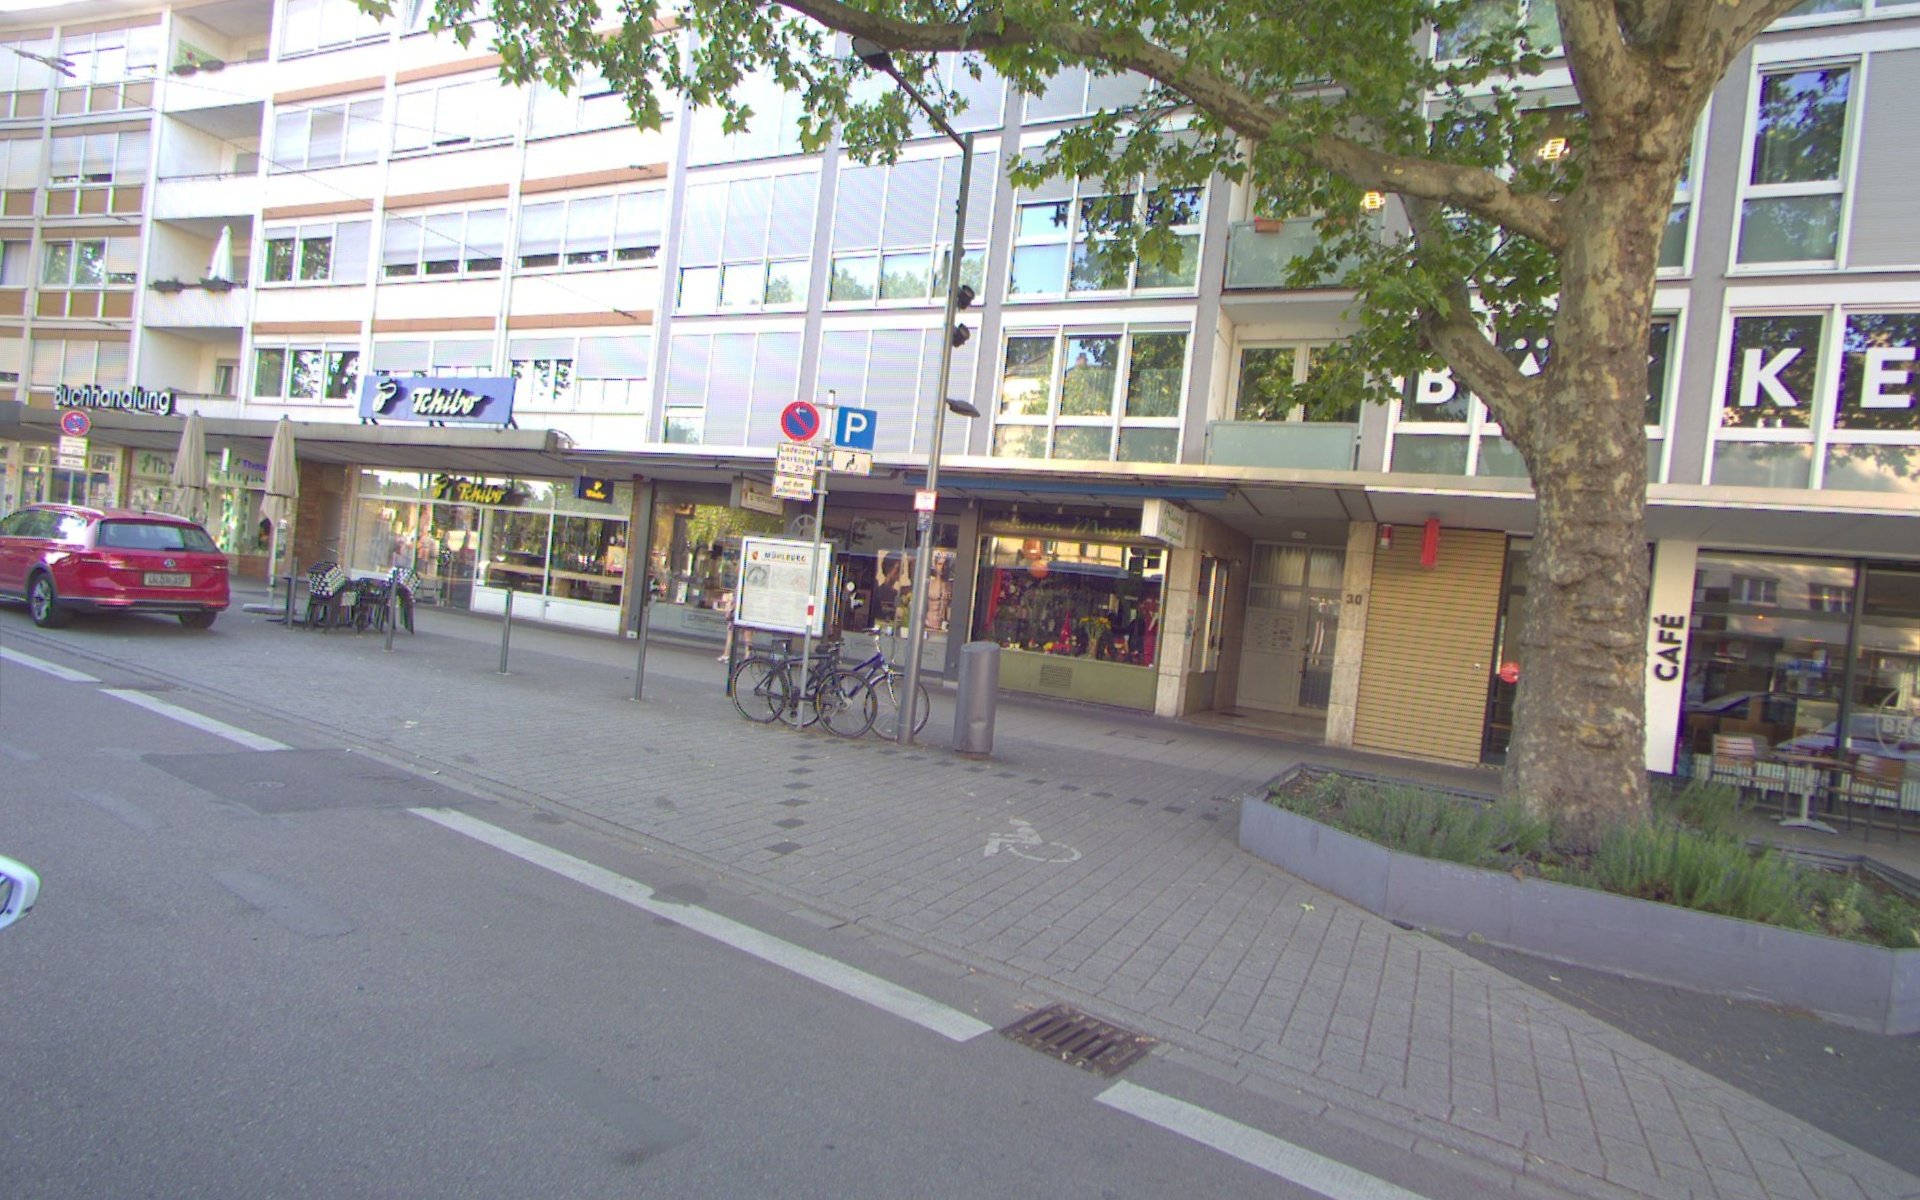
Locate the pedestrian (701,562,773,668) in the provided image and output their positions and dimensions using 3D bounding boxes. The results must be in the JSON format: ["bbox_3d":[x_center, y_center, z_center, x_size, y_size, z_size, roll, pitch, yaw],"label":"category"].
[{"bbox_3d":[-3.599,0.240,16.267,0.776,1.613,0.651,7,3,26],"label":"pedestrian"}]

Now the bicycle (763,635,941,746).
[{"bbox_3d":[-1.134,0.932,10.564,1.743,0.931,0.391,6,2,12],"label":"bicycle"}]

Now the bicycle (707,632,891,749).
[{"bbox_3d":[-1.640,0.900,10.243,1.743,0.951,0.391,6,2,12],"label":"bicycle"}]

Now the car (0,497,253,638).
[{"bbox_3d":[-11.629,-0.490,13.458,4.229,1.502,1.772,6,1,28],"label":"car"}]
